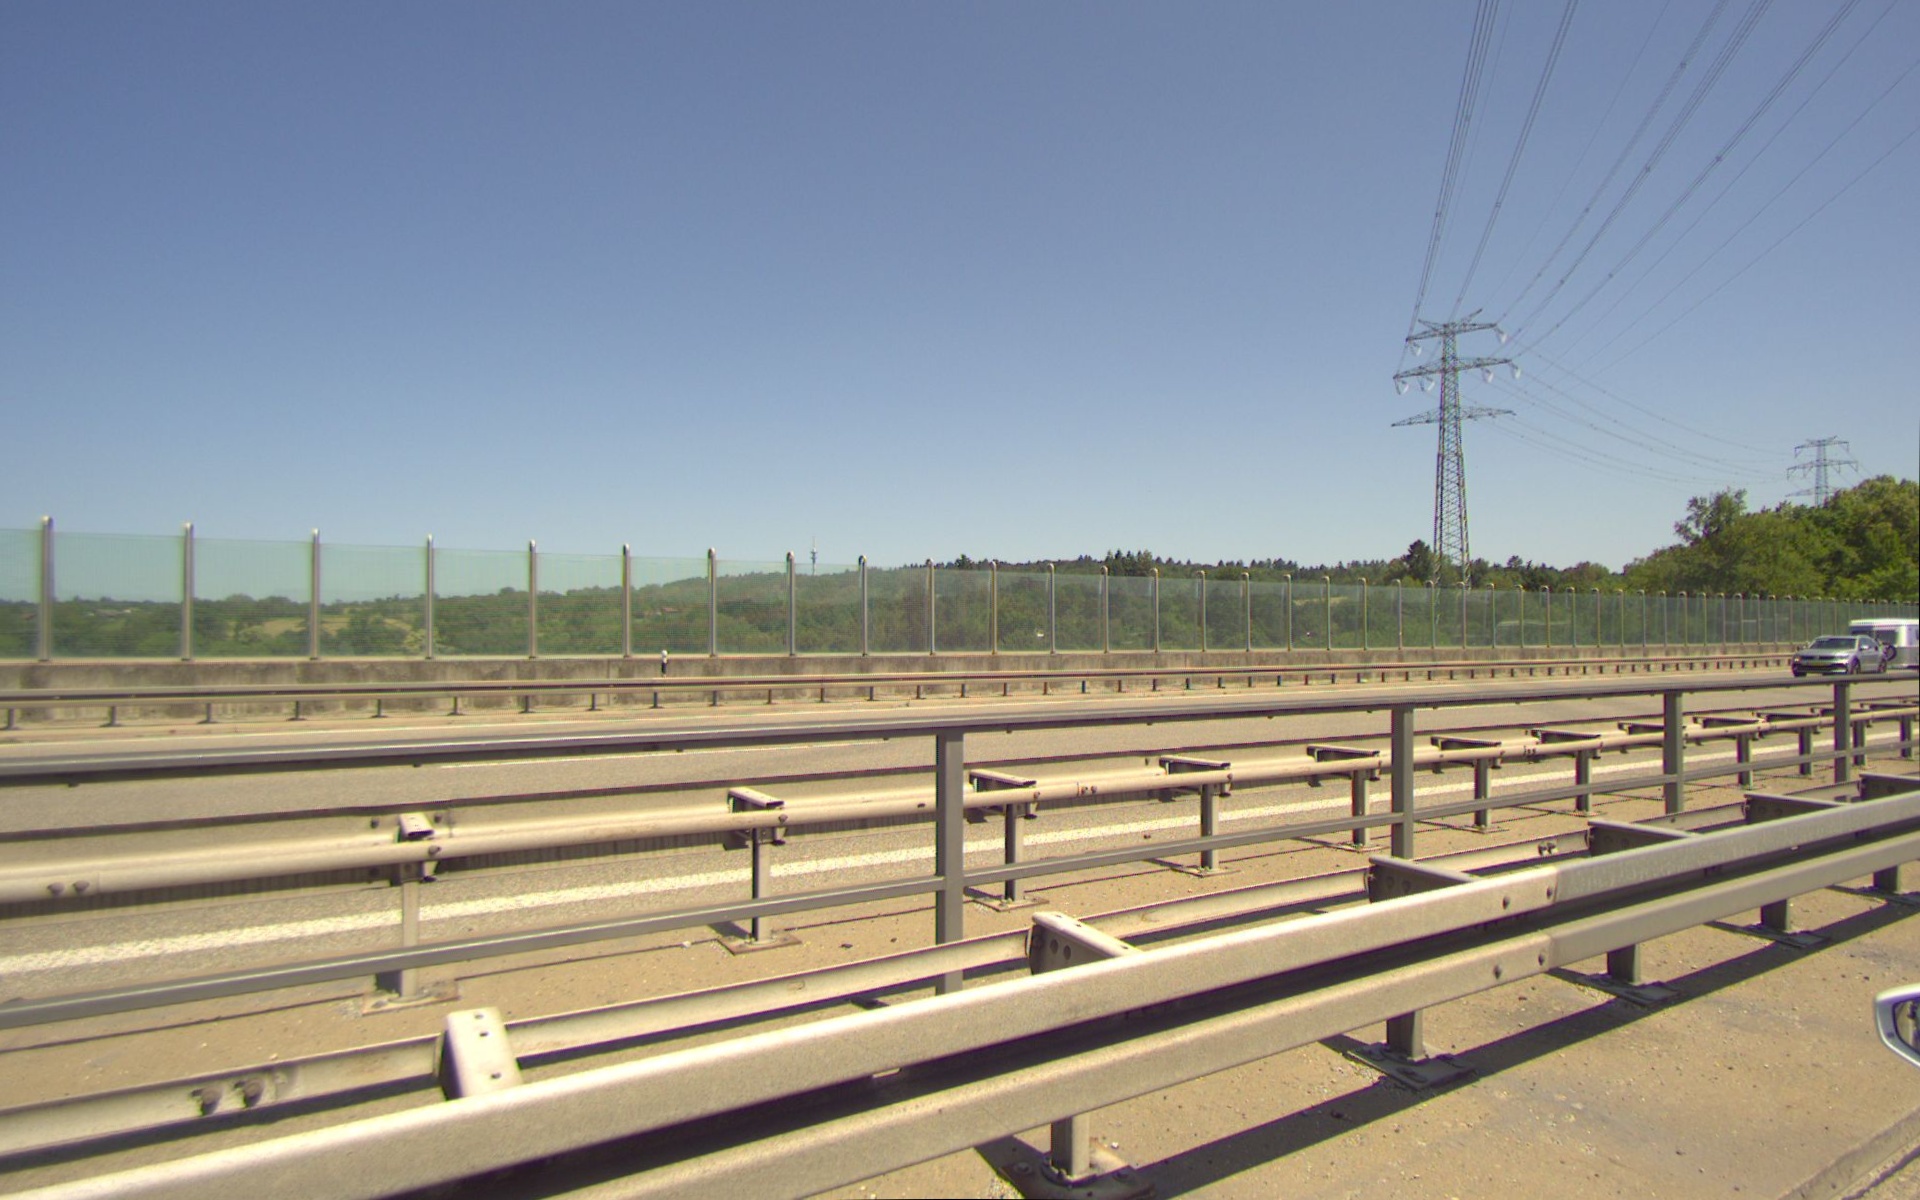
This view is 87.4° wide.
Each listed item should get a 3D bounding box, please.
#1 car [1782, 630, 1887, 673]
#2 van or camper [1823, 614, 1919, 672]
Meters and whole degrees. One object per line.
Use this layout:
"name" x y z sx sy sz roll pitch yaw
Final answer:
"car" 33.537 1.978 38.487 4.153 1.565 1.847 2 -4 -32
"van or camper" 37.652 1.804 41.058 5.474 2.240 1.984 2 -4 -31
